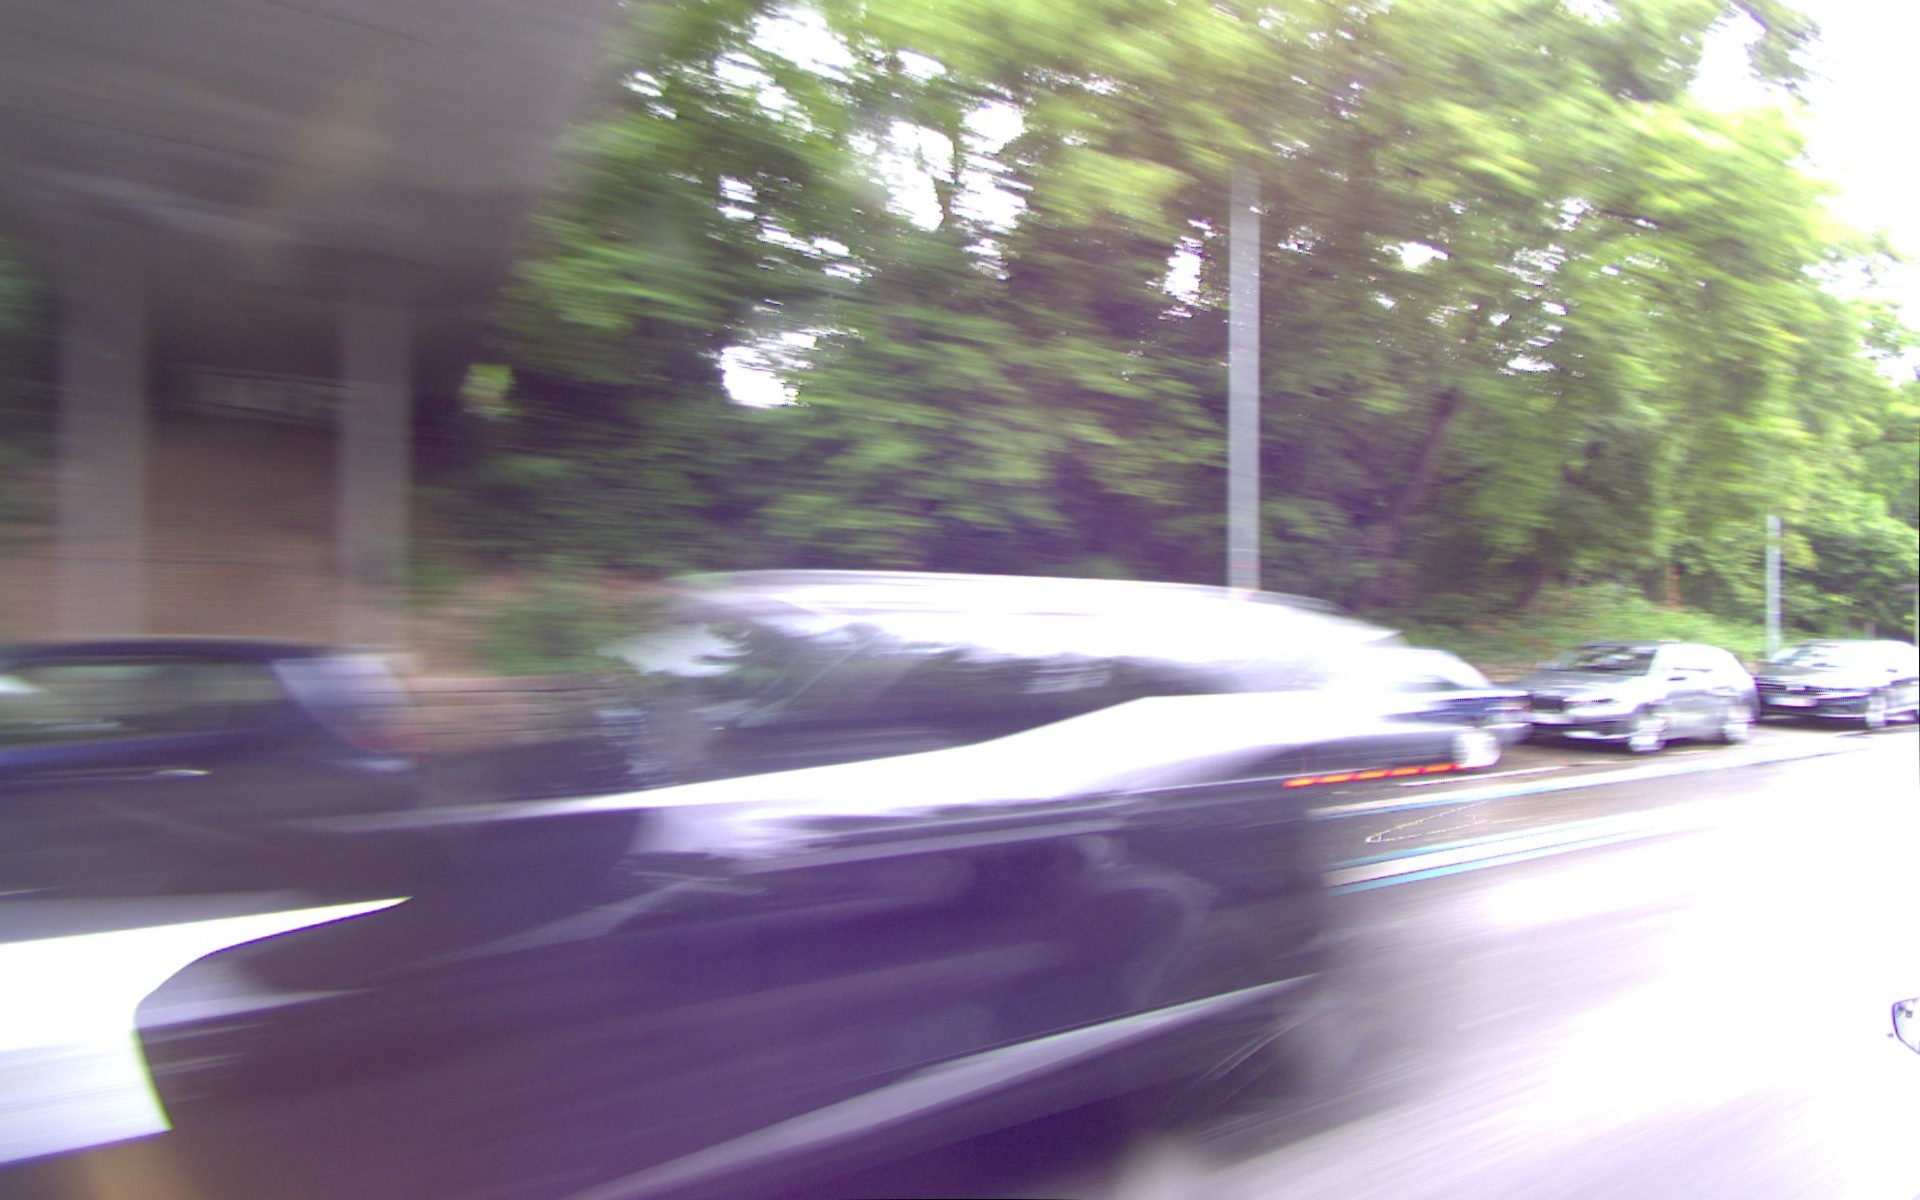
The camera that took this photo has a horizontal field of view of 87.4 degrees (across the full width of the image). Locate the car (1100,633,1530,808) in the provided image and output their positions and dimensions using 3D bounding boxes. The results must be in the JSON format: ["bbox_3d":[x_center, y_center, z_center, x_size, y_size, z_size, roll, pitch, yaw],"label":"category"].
[{"bbox_3d":[4.071,1.164,11.237,4.843,1.492,1.973,1,0,-32],"label":"car"}]

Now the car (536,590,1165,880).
[{"bbox_3d":[-0.759,0.860,8.252,4.784,1.765,1.980,1,-1,-32],"label":"car"}]

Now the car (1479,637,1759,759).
[{"bbox_3d":[9.492,1.291,14.386,4.248,1.442,1.774,1,-1,-32],"label":"car"}]

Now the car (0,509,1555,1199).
[{"bbox_3d":[-0.309,0.742,3.207,4.268,1.649,1.957,1,-2,-29],"label":"car"}]

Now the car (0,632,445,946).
[{"bbox_3d":[-4.981,0.923,5.456,3.799,1.458,1.601,1,-1,-31],"label":"car"}]

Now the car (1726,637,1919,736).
[{"bbox_3d":[15.943,1.460,18.169,4.707,1.483,1.944,1,0,-34],"label":"car"}]

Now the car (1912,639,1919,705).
[{"bbox_3d":[23.662,1.669,23.083,3.949,1.477,1.661,1,0,-32],"label":"car"}]
